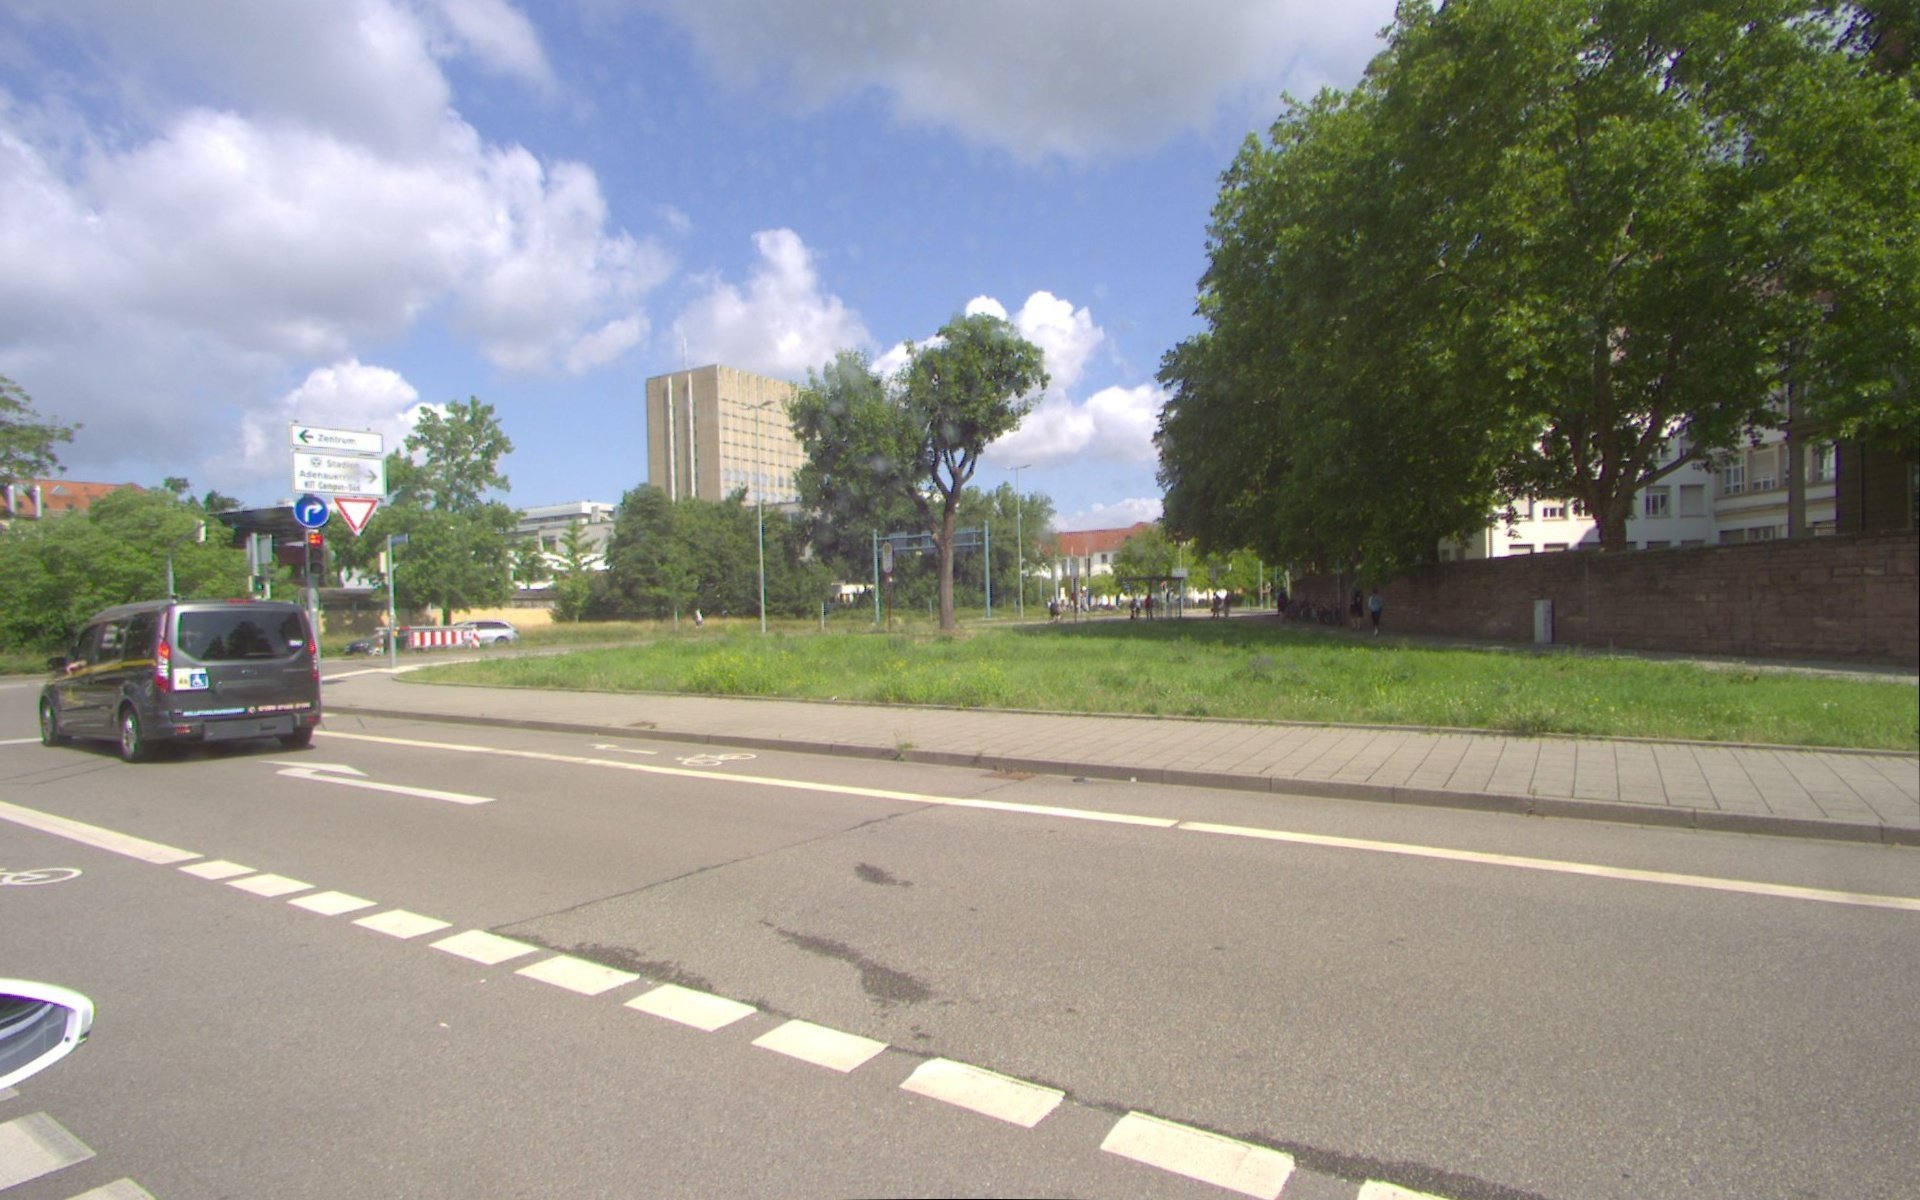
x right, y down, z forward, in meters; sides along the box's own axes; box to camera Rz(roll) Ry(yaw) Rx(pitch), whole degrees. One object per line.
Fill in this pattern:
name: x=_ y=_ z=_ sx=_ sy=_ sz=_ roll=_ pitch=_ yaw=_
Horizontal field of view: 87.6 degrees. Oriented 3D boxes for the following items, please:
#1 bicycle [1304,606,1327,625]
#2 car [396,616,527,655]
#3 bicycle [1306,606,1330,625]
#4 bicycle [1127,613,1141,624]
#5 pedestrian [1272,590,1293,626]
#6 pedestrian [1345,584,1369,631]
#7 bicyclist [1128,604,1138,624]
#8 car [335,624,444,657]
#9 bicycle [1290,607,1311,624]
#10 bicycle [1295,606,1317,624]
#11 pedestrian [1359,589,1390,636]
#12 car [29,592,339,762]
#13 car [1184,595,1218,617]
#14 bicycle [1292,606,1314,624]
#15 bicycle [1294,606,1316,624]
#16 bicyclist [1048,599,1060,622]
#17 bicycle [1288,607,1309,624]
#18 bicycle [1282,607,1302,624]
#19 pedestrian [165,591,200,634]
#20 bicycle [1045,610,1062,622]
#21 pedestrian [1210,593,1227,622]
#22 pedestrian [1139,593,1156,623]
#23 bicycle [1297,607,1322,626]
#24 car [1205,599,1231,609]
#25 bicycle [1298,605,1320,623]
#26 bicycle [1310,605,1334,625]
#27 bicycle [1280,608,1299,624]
bicycle: x=16.282 y=0.706 z=45.875 sx=0.955 sy=0.860 sz=0.482 roll=-1 pitch=1 yaw=11
car: x=-21.939 y=1.535 z=44.231 sx=2.037 sy=1.460 sz=4.746 roll=-4 pitch=-2 yaw=37
bicycle: x=16.172 y=0.705 z=45.247 sx=0.955 sy=0.860 sz=0.482 roll=-1 pitch=1 yaw=11
bicycle: x=12.723 y=1.357 z=73.371 sx=0.541 sy=0.707 sz=1.584 roll=-1 pitch=1 yaw=28
pedestrian: x=16.265 y=0.391 z=50.486 sx=0.870 sy=1.804 sz=0.770 roll=-1 pitch=1 yaw=9
pedestrian: x=15.158 y=0.287 z=38.249 sx=0.651 sy=1.746 sz=0.742 roll=-1 pitch=1 yaw=9
bicyclist: x=12.687 y=1.002 z=73.315 sx=0.552 sy=1.433 sz=0.604 roll=-1 pitch=1 yaw=28
car: x=-27.579 y=1.910 z=48.529 sx=1.973 sy=1.395 sz=4.135 roll=0 pitch=0 yaw=34
bicycle: x=17.335 y=0.783 z=50.965 sx=0.955 sy=0.860 sz=0.482 roll=-1 pitch=1 yaw=11
bicycle: x=16.952 y=0.713 z=49.110 sx=0.955 sy=0.860 sz=0.482 roll=-1 pitch=1 yaw=11
pedestrian: x=14.197 y=0.417 z=34.294 sx=0.712 sy=1.554 sz=0.724 roll=-2 pitch=0 yaw=-1
car: x=-9.971 y=0.875 z=12.756 sx=4.608 sy=1.808 sz=1.844 roll=-1 pitch=-1 yaw=35
car: x=22.855 y=0.541 z=94.929 sx=1.972 sy=2.040 sz=3.978 roll=-1 pitch=1 yaw=32
bicycle: x=17.228 y=0.758 z=50.322 sx=0.955 sy=0.860 sz=0.482 roll=-1 pitch=1 yaw=11
bicycle: x=17.113 y=0.733 z=49.653 sx=0.955 sy=0.860 sz=0.482 roll=-1 pitch=1 yaw=11
bicyclist: x=5.912 y=0.641 z=63.200 sx=0.552 sy=1.433 sz=0.604 roll=-1 pitch=1 yaw=28
bicycle: x=17.422 y=0.802 z=51.514 sx=0.955 sy=0.860 sz=0.482 roll=-1 pitch=1 yaw=11
bicycle: x=18.004 y=0.838 z=54.375 sx=0.955 sy=0.860 sz=0.482 roll=-1 pitch=1 yaw=11
pedestrian: x=-34.426 y=0.560 z=44.348 sx=1.161 sy=1.882 sz=0.697 roll=-1 pitch=1 yaw=22
bicycle: x=5.913 y=1.016 z=63.198 sx=0.541 sy=0.707 sz=1.584 roll=-1 pitch=0 yaw=27
pedestrian: x=16.264 y=0.492 z=62.974 sx=0.739 sy=1.803 sz=0.766 roll=-2 pitch=0 yaw=33
pedestrian: x=11.554 y=0.492 z=61.617 sx=0.738 sy=1.803 sz=0.961 roll=-2 pitch=0 yaw=30
bicycle: x=16.621 y=0.781 z=47.582 sx=1.053 sy=0.860 sz=0.499 roll=-1 pitch=1 yaw=11
car: x=34.855 y=0.567 z=135.319 sx=1.777 sy=1.289 sz=3.967 roll=-1 pitch=0 yaw=40
bicycle: x=16.856 y=0.688 z=48.377 sx=0.955 sy=0.860 sz=0.482 roll=-1 pitch=1 yaw=11
bicycle: x=16.116 y=0.659 z=44.564 sx=0.955 sy=0.860 sz=0.482 roll=-1 pitch=1 yaw=11
bicycle: x=18.087 y=0.858 z=54.949 sx=0.955 sy=0.860 sz=0.482 roll=-1 pitch=1 yaw=11
